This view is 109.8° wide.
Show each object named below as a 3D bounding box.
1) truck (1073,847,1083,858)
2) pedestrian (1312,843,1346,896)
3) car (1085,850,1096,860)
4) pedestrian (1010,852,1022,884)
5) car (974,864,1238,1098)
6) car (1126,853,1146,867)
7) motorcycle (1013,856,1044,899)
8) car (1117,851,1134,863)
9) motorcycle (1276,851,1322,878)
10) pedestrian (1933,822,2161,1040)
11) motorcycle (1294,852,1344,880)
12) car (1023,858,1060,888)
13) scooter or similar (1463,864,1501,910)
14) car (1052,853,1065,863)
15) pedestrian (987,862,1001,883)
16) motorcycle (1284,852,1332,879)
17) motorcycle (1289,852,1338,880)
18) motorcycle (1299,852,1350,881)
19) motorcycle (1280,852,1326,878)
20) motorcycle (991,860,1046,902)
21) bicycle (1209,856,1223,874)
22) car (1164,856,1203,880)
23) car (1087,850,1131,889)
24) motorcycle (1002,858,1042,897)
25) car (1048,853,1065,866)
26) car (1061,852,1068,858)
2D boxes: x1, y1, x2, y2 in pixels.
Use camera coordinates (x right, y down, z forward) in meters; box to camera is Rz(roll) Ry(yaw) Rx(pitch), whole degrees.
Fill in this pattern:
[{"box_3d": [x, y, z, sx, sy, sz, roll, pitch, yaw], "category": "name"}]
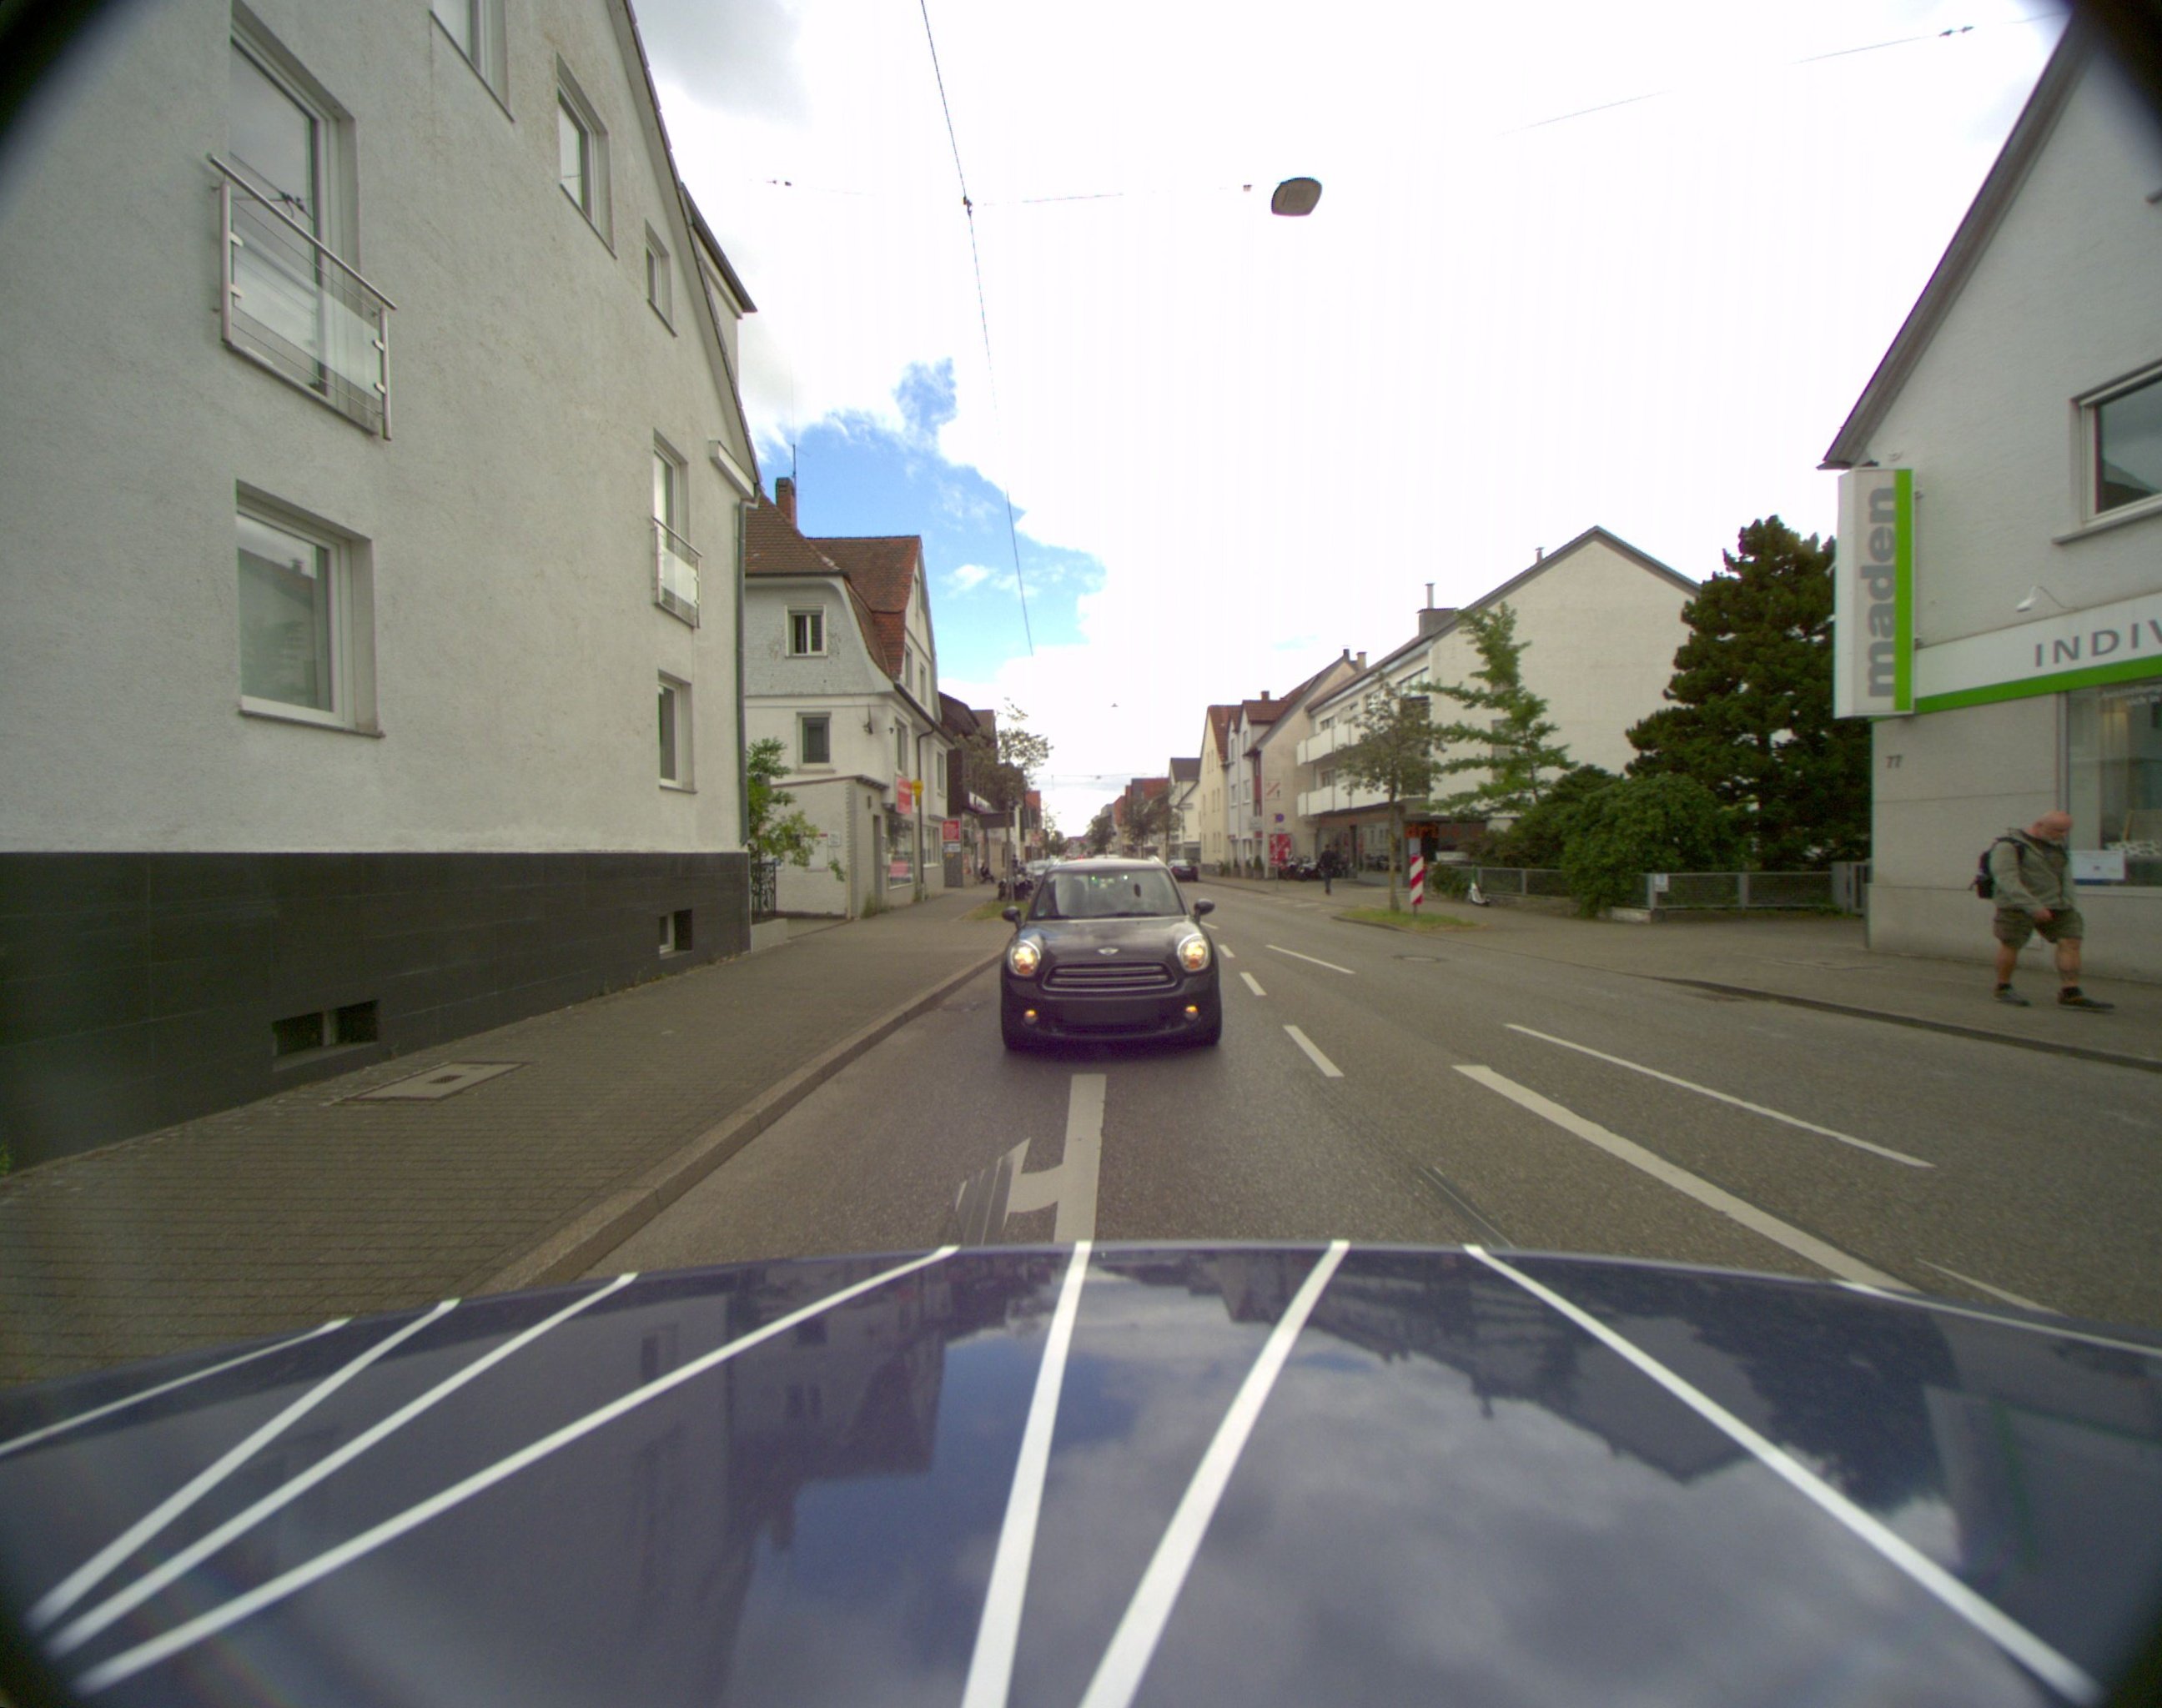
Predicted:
[{"box_3d": [-0.896, -0.352, 216.676, 2.800, 3.020, 8.250, -2, 0, 0], "category": "truck"}, {"box_3d": [9.039, 0.547, 27.731, 0.753, 1.838, 1.019, -5, 1, 0], "category": "pedestrian"}, {"box_3d": [1.832, 0.212, 143.652, 1.855, 1.932, 4.490, 1, 0, -2], "category": "car"}, {"box_3d": [-3.510, 0.751, 40.970, 0.644, 1.730, 0.742, 0, 1, -6], "category": "pedestrian"}, {"box_3d": [0.101, 0.940, 7.811, 1.855, 1.527, 4.735, -2, 0, -2], "category": "car"}, {"box_3d": [6.038, 0.653, 83.583, 1.716, 1.389, 3.899, -2, 0, -2], "category": "car"}, {"box_3d": [-1.964, 0.874, 28.933, 0.672, 1.516, 2.599, -2, 0, 6], "category": "motorcycle"}, {"box_3d": [5.524, 0.353, 94.735, 1.716, 1.389, 3.899, -2, 0, -2], "category": "car"}, {"box_3d": [11.784, 0.562, 41.089, 2.231, 1.258, 0.613, -4, 1, -2], "category": "motorcycle"}, {"box_3d": [8.474, 0.622, 6.683, 0.753, 1.733, 1.019, -3, 1, 0], "category": "pedestrian"}, {"box_3d": [11.873, 0.595, 37.907, 2.231, 1.258, 0.613, -4, 1, -2], "category": "motorcycle"}, {"box_3d": [-2.056, 0.975, 40.856, 1.830, 1.400, 4.564, -2, 0, -1], "category": "car"}, {"box_3d": [10.314, 0.832, 19.580, 0.340, 1.105, 1.180, -2, 1, 0], "category": "scooter or similar"}, {"box_3d": [-3.381, 0.623, 112.544, 1.794, 1.397, 3.948, 1, 0, 0], "category": "car"}, {"box_3d": [-5.007, 1.075, 43.967, 0.742, 1.204, 0.644, 0, 1, -1], "category": "pedestrian"}, {"box_3d": [11.814, 0.570, 39.632, 2.231, 1.258, 0.699, -4, 1, -2], "category": "motorcycle"}, {"box_3d": [11.865, 0.598, 38.784, 2.231, 1.258, 0.613, -4, 1, -2], "category": "motorcycle"}, {"box_3d": [11.840, 0.600, 37.002, 2.231, 1.258, 0.613, -4, 1, -2], "category": "motorcycle"}, {"box_3d": [11.797, 0.575, 40.419, 2.231, 1.258, 0.613, -4, 1, -2], "category": "motorcycle"}, {"box_3d": [-2.210, 0.929, 26.461, 0.777, 1.373, 2.237, -2, 1, -37], "category": "motorcycle"}, {"box_3d": [9.353, 0.770, 52.620, 0.515, 1.189, 2.023, -2, 0, -1], "category": "bicycle"}, {"box_3d": [6.437, 0.879, 48.153, 1.792, 1.409, 4.340, 0, 0, -1], "category": "car"}, {"box_3d": [1.239, 0.660, 35.207, 1.855, 1.615, 4.736, -2, 0, 0], "category": "car"}, {"box_3d": [-2.308, 0.902, 30.070, 0.648, 1.432, 2.472, -2, 1, 19], "category": "motorcycle"}, {"box_3d": [-2.621, 0.542, 82.395, 1.794, 1.356, 3.948, 1, 0, 0], "category": "car"}, {"box_3d": [-5.033, 0.278, 230.520, 2.059, 2.002, 4.186, -2, 0, -1], "category": "car"}]
